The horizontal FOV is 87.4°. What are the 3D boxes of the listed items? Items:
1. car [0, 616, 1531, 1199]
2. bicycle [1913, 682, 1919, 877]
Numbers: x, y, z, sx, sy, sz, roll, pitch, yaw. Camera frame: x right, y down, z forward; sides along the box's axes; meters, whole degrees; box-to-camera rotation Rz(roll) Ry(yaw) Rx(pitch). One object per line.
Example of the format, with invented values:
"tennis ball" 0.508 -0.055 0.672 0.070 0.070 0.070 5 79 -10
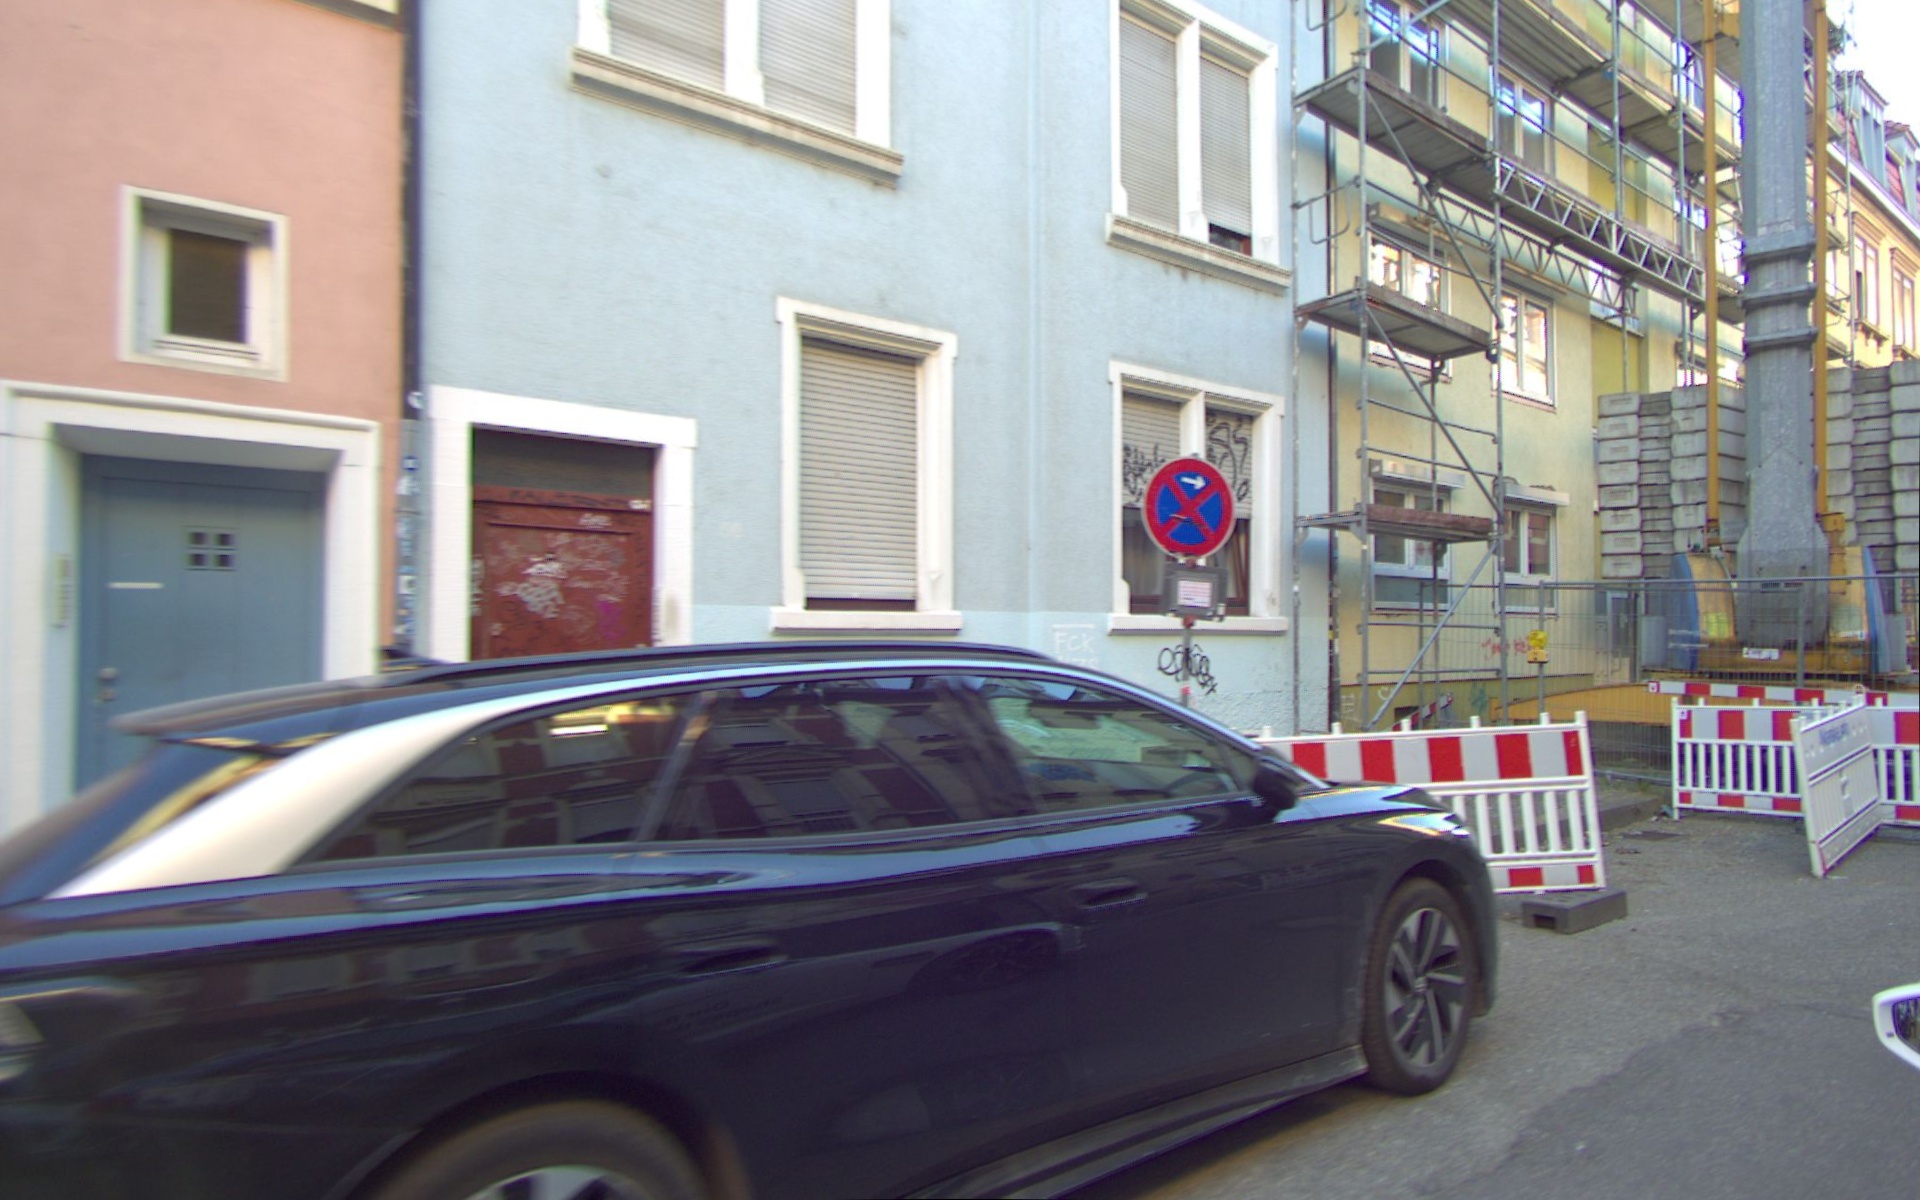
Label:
"car" -0.166 0.854 3.153 4.563 1.496 1.664 2 -3 -36
"bicycle" 6.993 1.102 6.105 2.007 1.202 0.725 0 -2 -13
